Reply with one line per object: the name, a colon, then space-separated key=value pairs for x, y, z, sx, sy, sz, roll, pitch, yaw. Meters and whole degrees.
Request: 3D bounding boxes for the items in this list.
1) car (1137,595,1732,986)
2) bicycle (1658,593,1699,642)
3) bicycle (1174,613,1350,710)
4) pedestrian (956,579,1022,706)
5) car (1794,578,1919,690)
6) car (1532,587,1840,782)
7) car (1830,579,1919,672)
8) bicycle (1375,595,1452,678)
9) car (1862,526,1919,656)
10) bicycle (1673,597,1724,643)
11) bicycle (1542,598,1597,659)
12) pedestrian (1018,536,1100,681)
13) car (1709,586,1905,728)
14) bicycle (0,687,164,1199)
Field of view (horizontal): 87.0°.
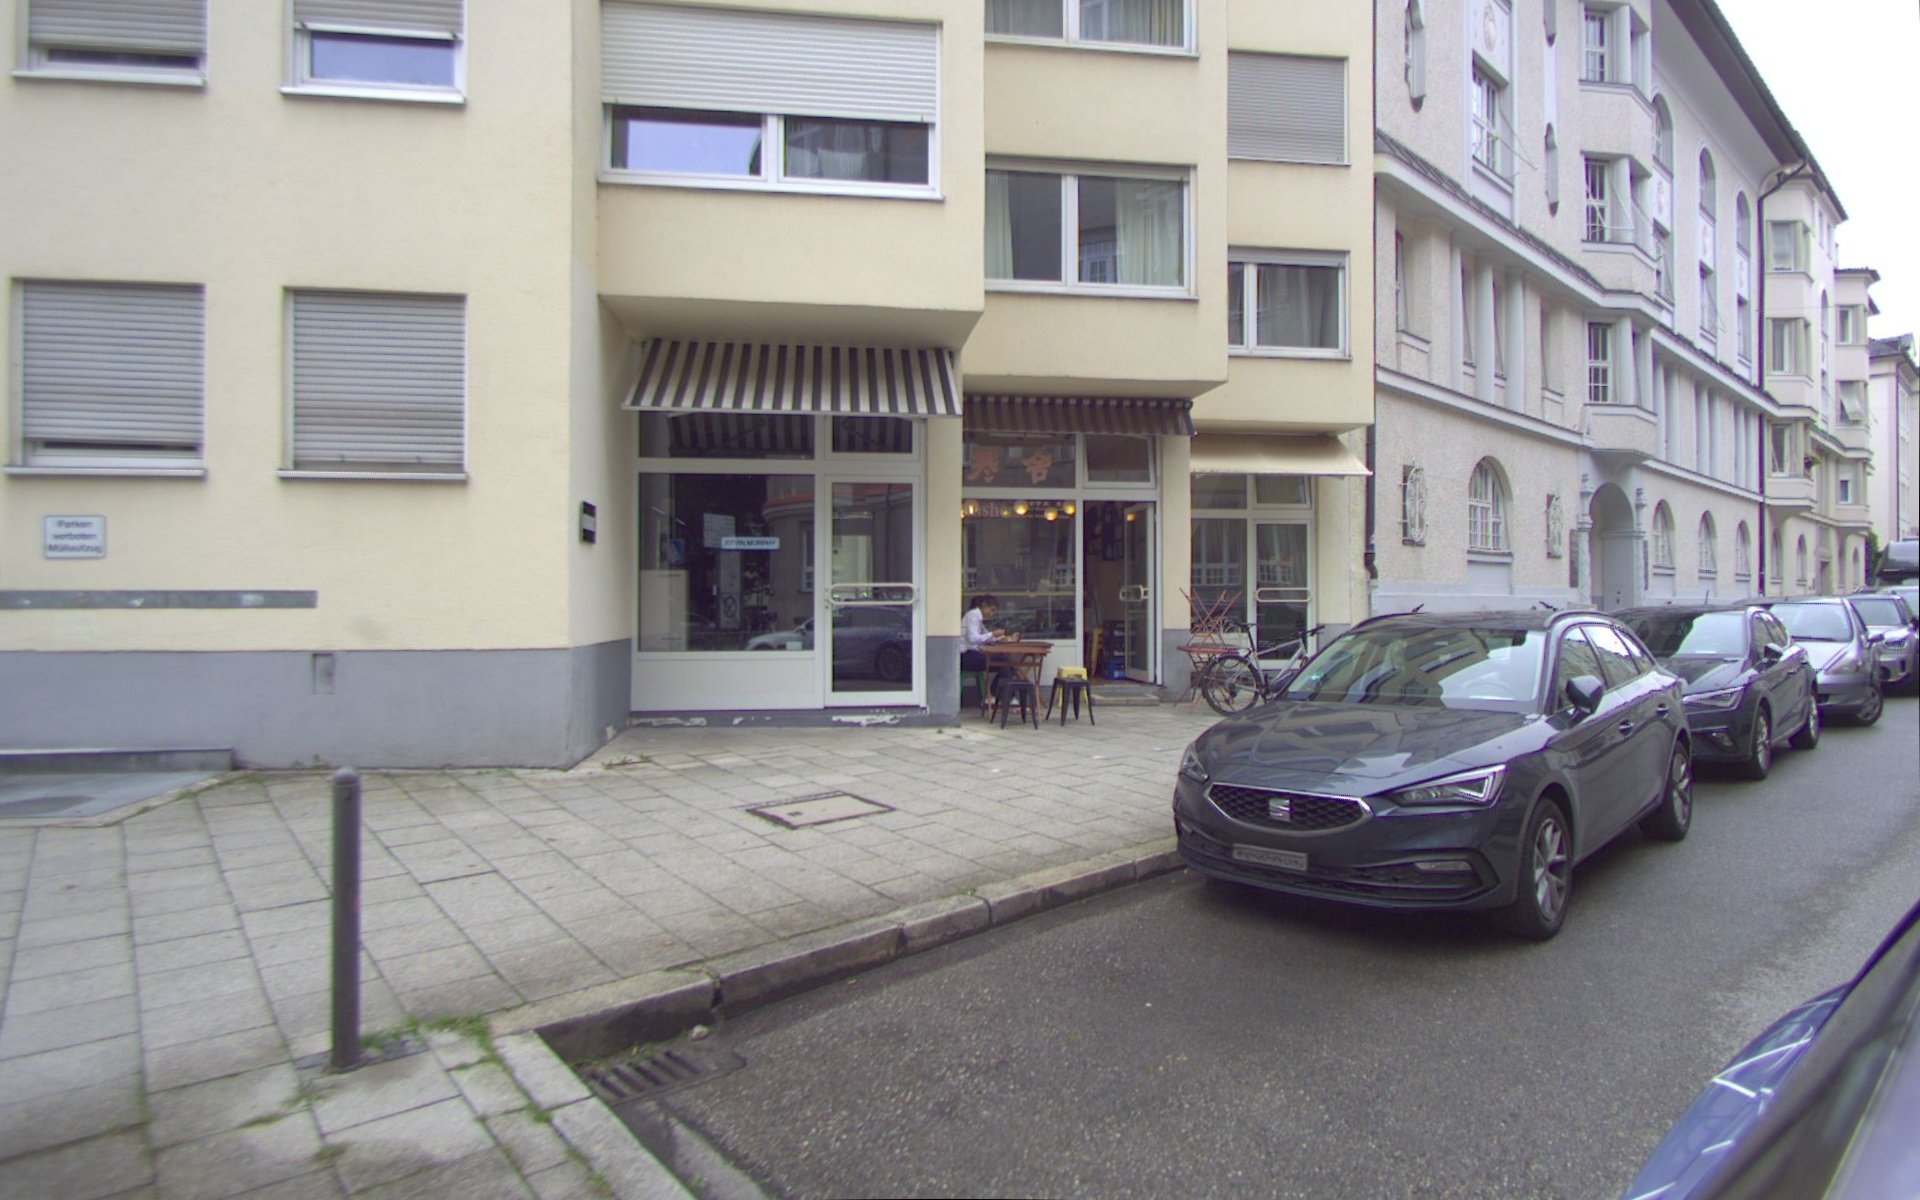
car: x=3.114 y=0.725 z=6.053 sx=4.534 sy=1.490 sz=1.694 roll=0 pitch=0 yaw=-44
bicycle: x=17.984 y=0.423 z=25.328 sx=1.758 sy=1.165 sz=0.482 roll=0 pitch=2 yaw=-44
bicycle: x=3.452 y=0.697 z=11.654 sx=1.763 sy=1.045 sz=0.754 roll=1 pitch=1 yaw=-6
pedestrian: x=0.325 y=0.477 z=11.669 sx=0.660 sy=1.416 sz=0.533 roll=0 pitch=-1 yaw=-8
car: x=14.892 y=0.487 z=16.431 sx=3.903 sy=1.612 sz=1.635 roll=0 pitch=-1 yaw=-44
car: x=7.014 y=0.644 z=9.637 sx=3.789 sy=1.490 sz=1.636 roll=0 pitch=-1 yaw=-43
car: x=19.181 y=0.477 z=20.268 sx=4.592 sy=1.710 sz=1.996 roll=0 pitch=-1 yaw=-41
bicycle: x=7.105 y=0.543 z=15.817 sx=0.563 sy=1.207 sz=1.651 roll=3 pitch=2 yaw=43
car: x=24.479 y=-0.256 z=25.241 sx=6.028 sy=2.997 sz=2.257 roll=-1 pitch=-1 yaw=-42
bicycle: x=19.588 y=0.520 z=26.826 sx=1.753 sy=1.165 sz=0.483 roll=0 pitch=-1 yaw=-33
bicycle: x=12.245 y=0.555 z=20.312 sx=1.758 sy=1.165 sz=0.482 roll=0 pitch=-1 yaw=-44
pedestrian: x=1.331 y=0.098 z=13.759 sx=0.726 sy=1.870 sz=1.018 roll=3 pitch=1 yaw=-12
car: x=10.978 y=0.624 z=13.027 sx=1.634 sy=1.556 sz=3.793 roll=-1 pitch=-1 yaw=44
bicycle: x=-2.224 y=0.789 z=1.730 sx=0.652 sy=1.099 sz=1.801 roll=2 pitch=0 yaw=-14
